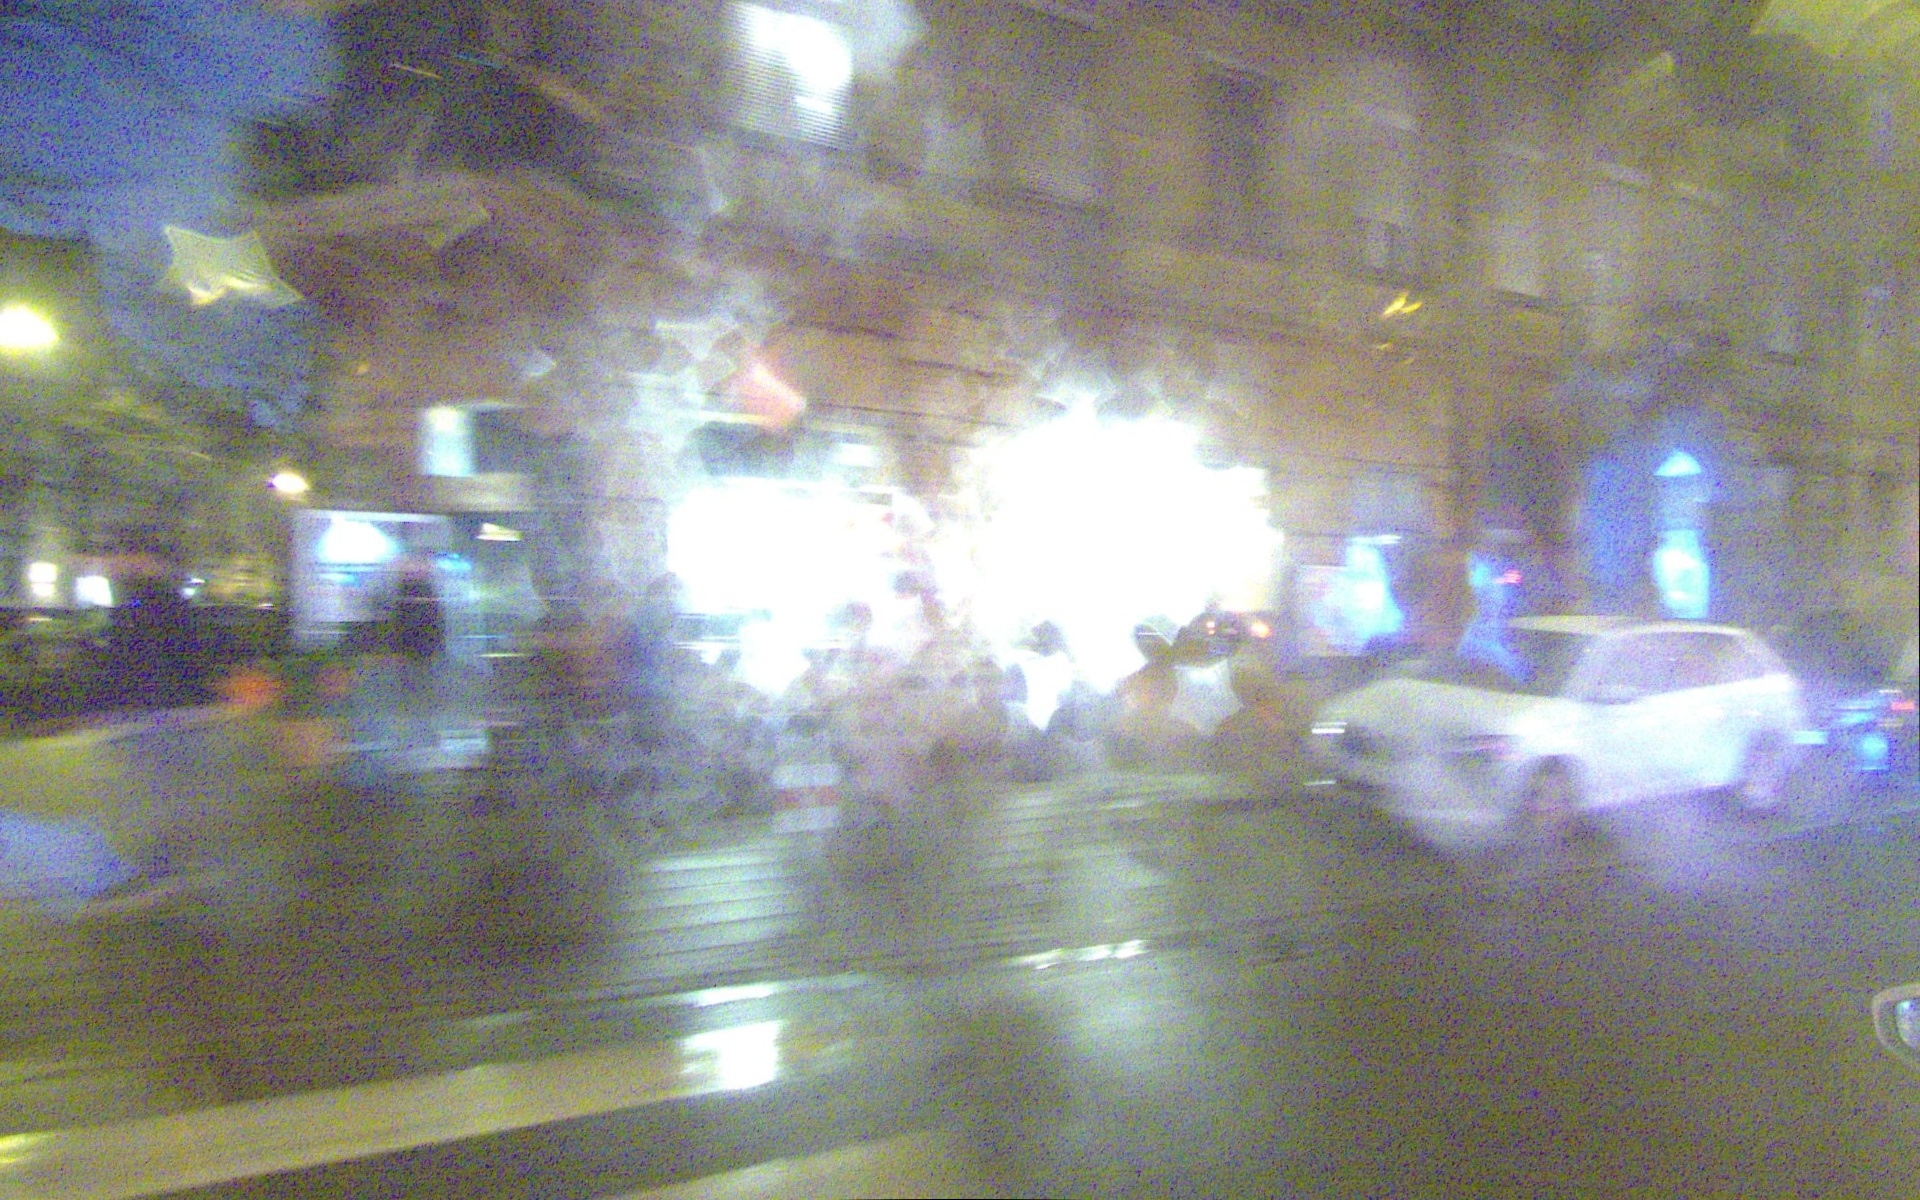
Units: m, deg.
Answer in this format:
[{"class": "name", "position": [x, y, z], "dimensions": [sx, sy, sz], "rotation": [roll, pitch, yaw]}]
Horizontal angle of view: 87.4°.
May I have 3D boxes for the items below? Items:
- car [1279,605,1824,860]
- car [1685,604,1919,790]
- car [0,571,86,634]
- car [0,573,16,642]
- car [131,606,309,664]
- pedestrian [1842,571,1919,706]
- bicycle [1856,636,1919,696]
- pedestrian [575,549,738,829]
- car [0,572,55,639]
[{"class": "car", "position": [4.553, 0.820, 7.689], "dimensions": [3.969, 1.483, 1.581], "rotation": [0, 3, -25]}, {"class": "car", "position": [8.636, 0.811, 9.644], "dimensions": [2.749, 1.530, 1.581], "rotation": [0, 1, -25]}, {"class": "car", "position": [-32.370, 0.056, 33.929], "dimensions": [3.953, 2.041, 1.984], "rotation": [1, 2, -30]}, {"class": "car", "position": [-30.252, 0.216, 29.021], "dimensions": [3.953, 2.041, 1.984], "rotation": [0, 2, -30]}, {"class": "car", "position": [-19.038, 0.873, 26.027], "dimensions": [3.412, 1.422, 1.583], "rotation": [0, -1, -23]}, {"class": "pedestrian", "position": [13.778, 0.533, 14.578], "dimensions": [0.960, 1.890, 1.033], "rotation": [1, 1, -11]}, {"class": "bicycle", "position": [16.058, 1.117, 17.109], "dimensions": [1.987, 0.970, 0.448], "rotation": [2, -1, -25]}, {"class": "pedestrian", "position": [-2.101, 0.570, 6.954], "dimensions": [1.000, 1.790, 0.803], "rotation": [1, 2, -19]}, {"class": "car", "position": [-31.269, 0.162, 31.466], "dimensions": [3.953, 2.041, 1.983], "rotation": [0, 3, -30]}]
